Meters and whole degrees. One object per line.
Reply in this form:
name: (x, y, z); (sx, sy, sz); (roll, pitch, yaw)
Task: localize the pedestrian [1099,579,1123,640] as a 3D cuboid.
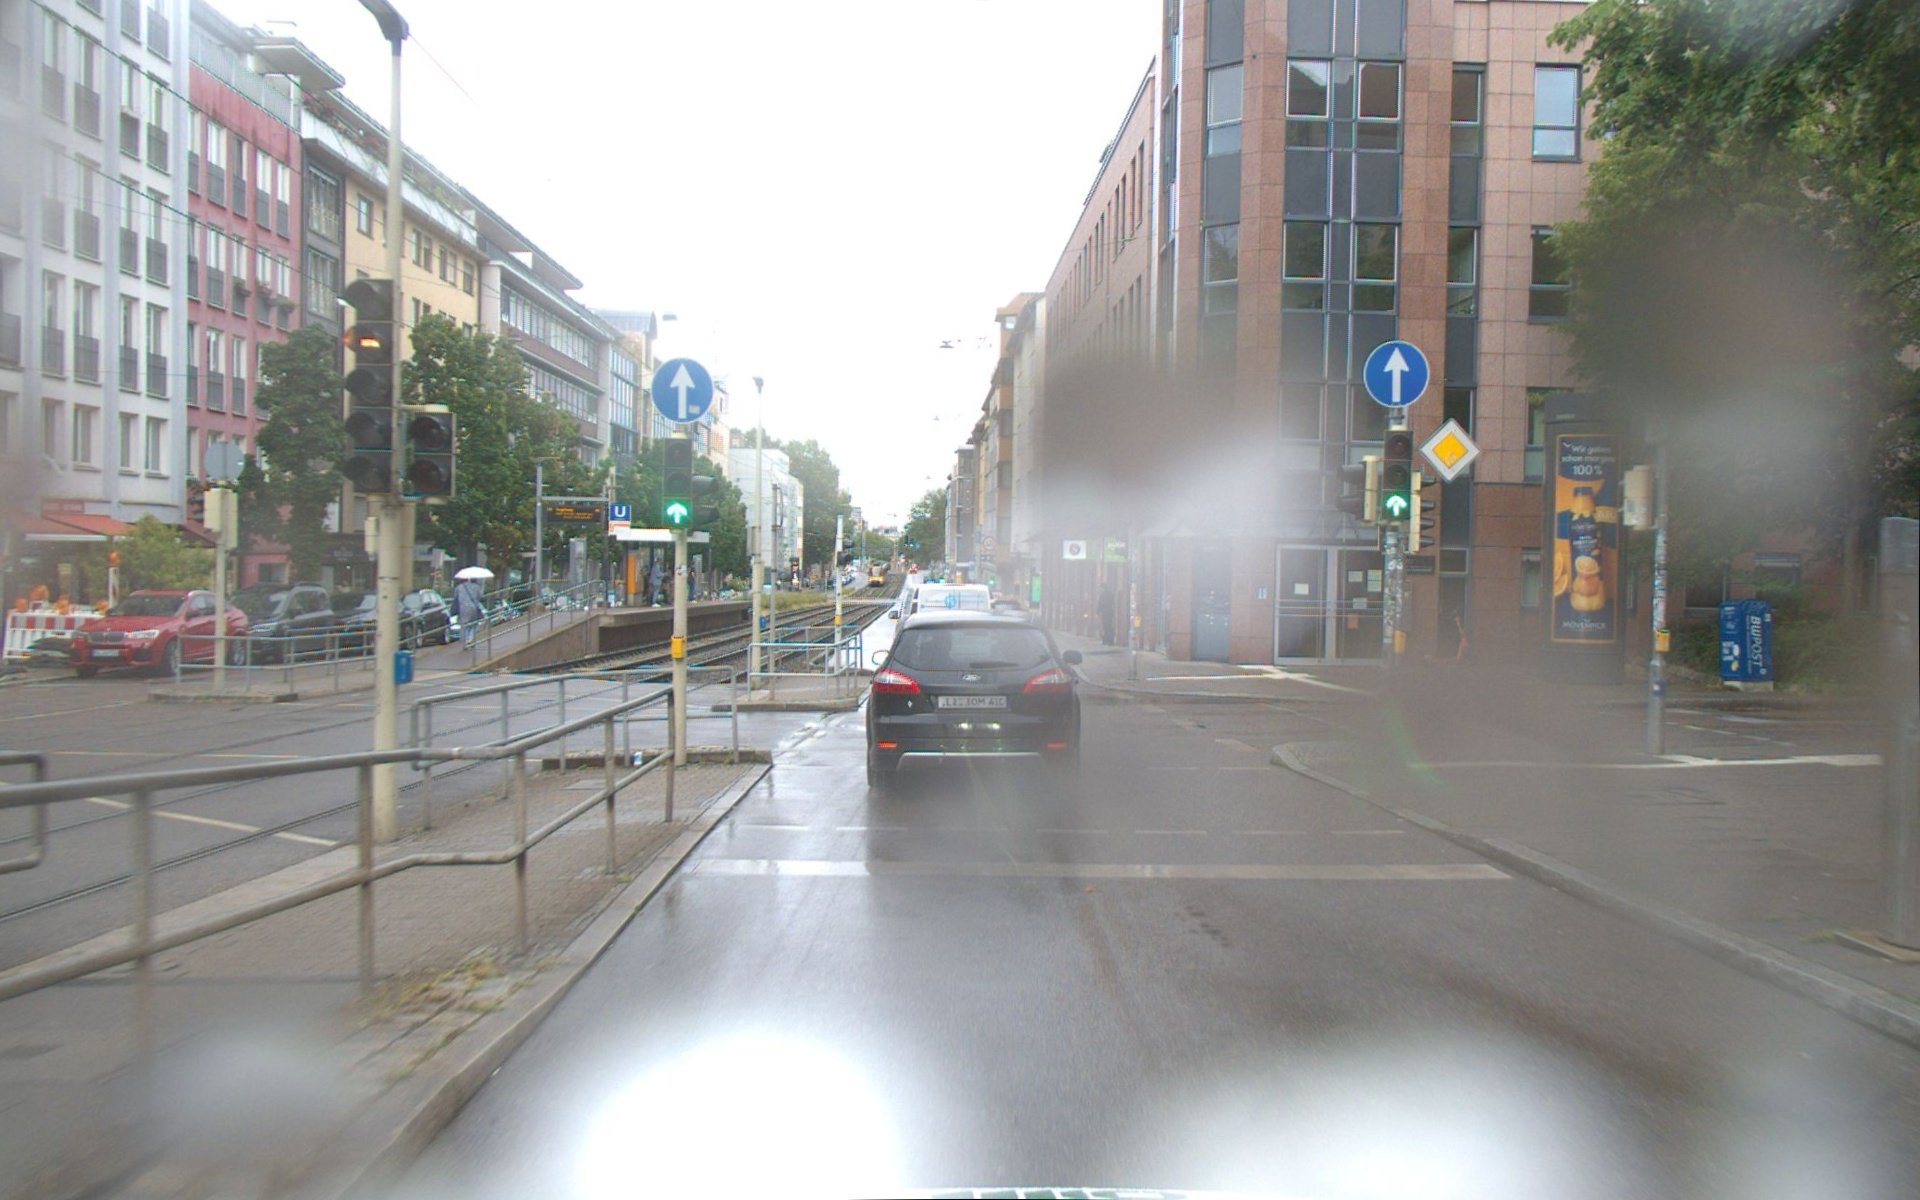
pedestrian: (4.210, 0.268, 46.112); (0.589, 1.688, 0.625); (0, 0, -1)

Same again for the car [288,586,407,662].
car: (-16.020, 0.573, 43.484); (1.767, 1.890, 4.377); (0, 0, -4)

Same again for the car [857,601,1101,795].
car: (0.116, 0.759, 14.402); (1.868, 1.488, 3.444); (0, 0, -1)

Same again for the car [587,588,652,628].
car: (-14.391, 0.308, 70.097); (1.770, 1.605, 5.020); (0, 0, -1)

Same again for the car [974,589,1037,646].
car: (1.263, 0.477, 47.334); (1.664, 1.505, 3.867); (-2, 0, 0)

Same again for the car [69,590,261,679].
car: (-15.960, 0.640, 33.479); (1.691, 1.640, 4.552); (0, 1, 0)

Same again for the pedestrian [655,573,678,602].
pedestrian: (-11.639, -0.500, 65.548); (0.876, 1.143, 0.847); (0, 0, -12)

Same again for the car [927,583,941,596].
car: (-3.388, -1.360, 218.322); (1.868, 1.662, 4.573); (0, 0, -1)

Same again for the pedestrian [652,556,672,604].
pedestrian: (-10.997, -0.738, 61.069); (0.642, 1.741, 0.849); (0, 0, -4)

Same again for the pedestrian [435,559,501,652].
pedestrian: (-11.014, 0.120, 37.079); (1.093, 2.049, 1.383); (0, 0, -2)

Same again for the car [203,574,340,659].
car: (-16.147, 0.359, 39.007); (1.673, 1.890, 4.317); (0, 0, -4)

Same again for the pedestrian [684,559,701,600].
pedestrian: (-12.041, -0.899, 74.426); (0.642, 1.833, 0.849); (0, 0, -4)

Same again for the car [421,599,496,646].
car: (-16.315, 0.699, 53.964); (1.537, 1.461, 3.975); (0, 0, -5)

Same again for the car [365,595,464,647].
car: (-16.218, 0.585, 49.375); (1.805, 1.461, 4.315); (0, 0, -5)

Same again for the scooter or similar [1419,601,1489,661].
scooter or similar: (10.275, 0.645, 34.420); (1.345, 1.248, 0.325); (0, 0, 1)

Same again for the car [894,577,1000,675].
car: (-0.335, 0.507, 34.322); (1.869, 1.897, 4.569); (0, 0, -5)
